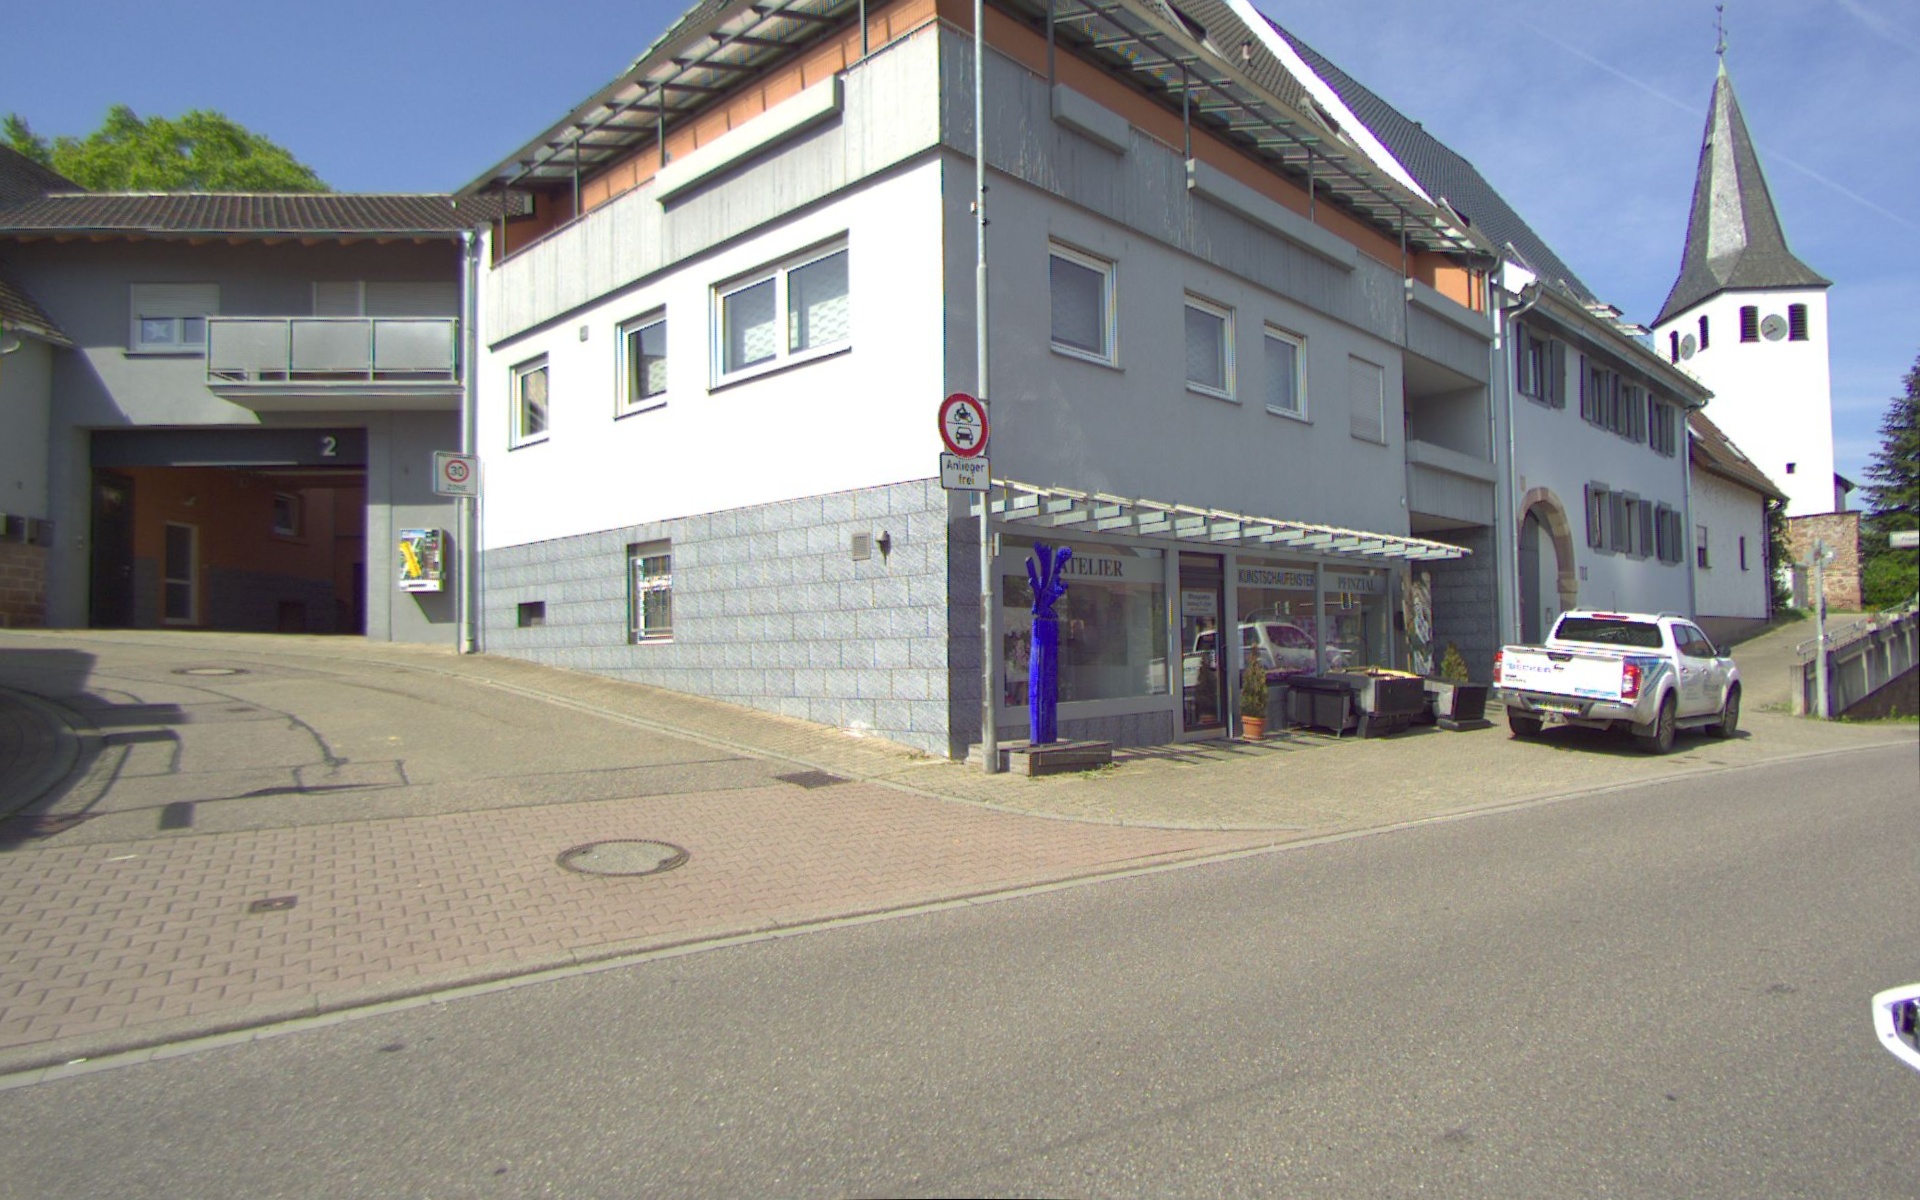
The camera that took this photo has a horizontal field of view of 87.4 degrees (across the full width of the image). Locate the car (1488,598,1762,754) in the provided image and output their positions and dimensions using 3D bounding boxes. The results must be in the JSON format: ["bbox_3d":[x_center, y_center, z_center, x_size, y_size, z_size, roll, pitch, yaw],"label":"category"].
[{"bbox_3d":[9.649,0.981,14.377,5.242,1.822,1.790,2,0,-40],"label":"car"}]
